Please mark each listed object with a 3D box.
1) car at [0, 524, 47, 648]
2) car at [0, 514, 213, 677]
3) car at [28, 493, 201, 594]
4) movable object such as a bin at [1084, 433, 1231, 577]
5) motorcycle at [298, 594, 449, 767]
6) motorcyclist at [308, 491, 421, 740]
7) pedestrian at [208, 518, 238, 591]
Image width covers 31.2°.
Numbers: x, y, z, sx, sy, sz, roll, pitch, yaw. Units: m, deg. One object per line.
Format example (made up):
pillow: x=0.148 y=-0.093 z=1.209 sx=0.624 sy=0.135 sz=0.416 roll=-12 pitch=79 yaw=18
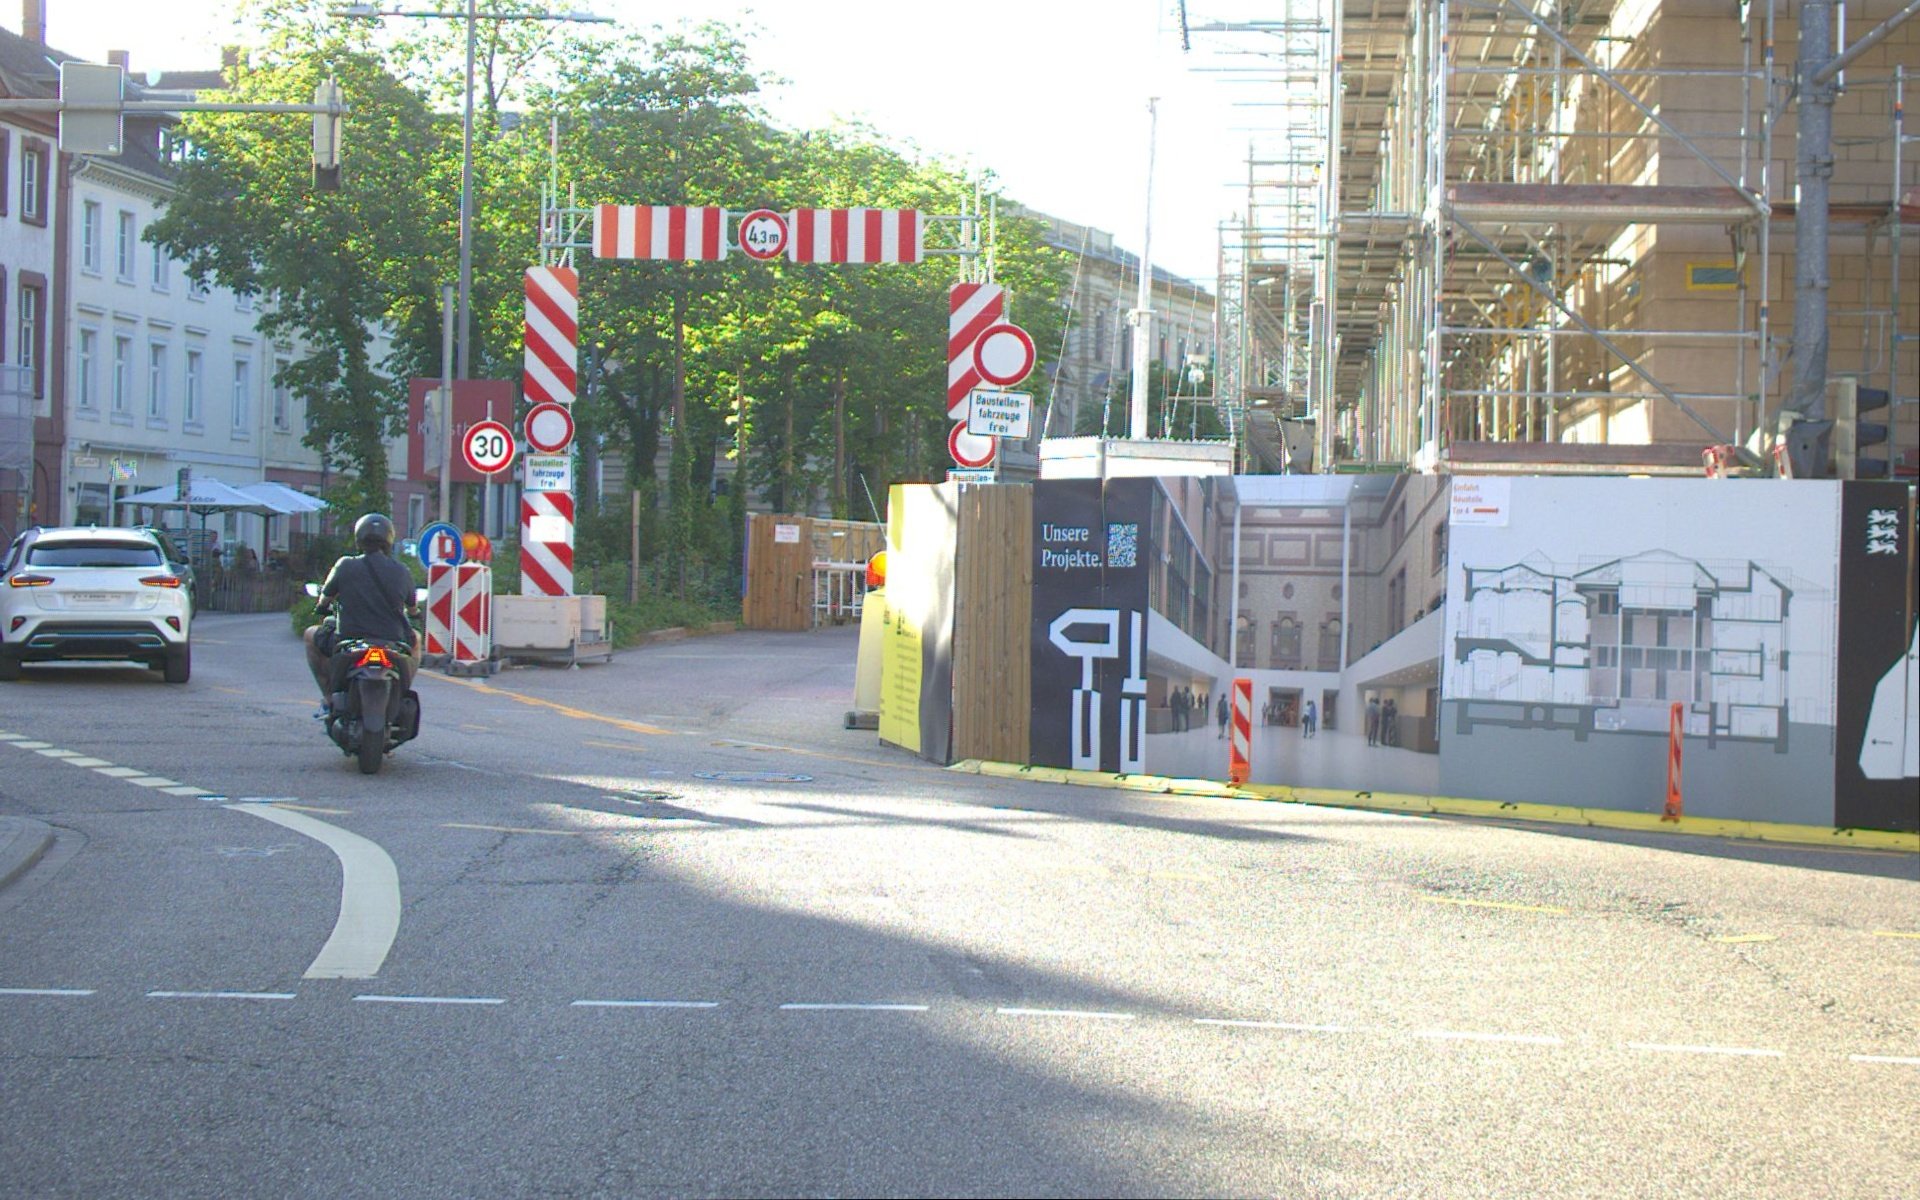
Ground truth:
car: x=-12.486 y=-0.225 z=43.059 sx=1.839 sy=1.458 sz=4.059 roll=1 pitch=1 yaw=-17
car: x=-8.707 y=-0.086 z=34.154 sx=1.850 sy=1.475 sz=4.059 roll=1 pitch=1 yaw=-22
car: x=-15.237 y=-1.018 z=62.143 sx=1.840 sy=1.707 sz=4.057 roll=2 pitch=1 yaw=4
movable object such as a bin: x=6.492 y=-3.034 z=111.795 sx=3.309 sy=4.524 sz=7.900 roll=0 pitch=1 yaw=14
motorcycle: x=-3.959 y=0.526 z=23.105 sx=0.796 sy=1.062 sz=1.726 roll=1 pitch=1 yaw=-16
motorcyclist: x=-4.024 y=0.097 z=23.219 sx=0.657 sy=1.645 sz=0.651 roll=2 pitch=1 yaw=-15
pedestrian: x=-17.910 y=-1.100 z=83.569 sx=0.438 sy=1.769 sz=0.597 roll=1 pitch=1 yaw=19
